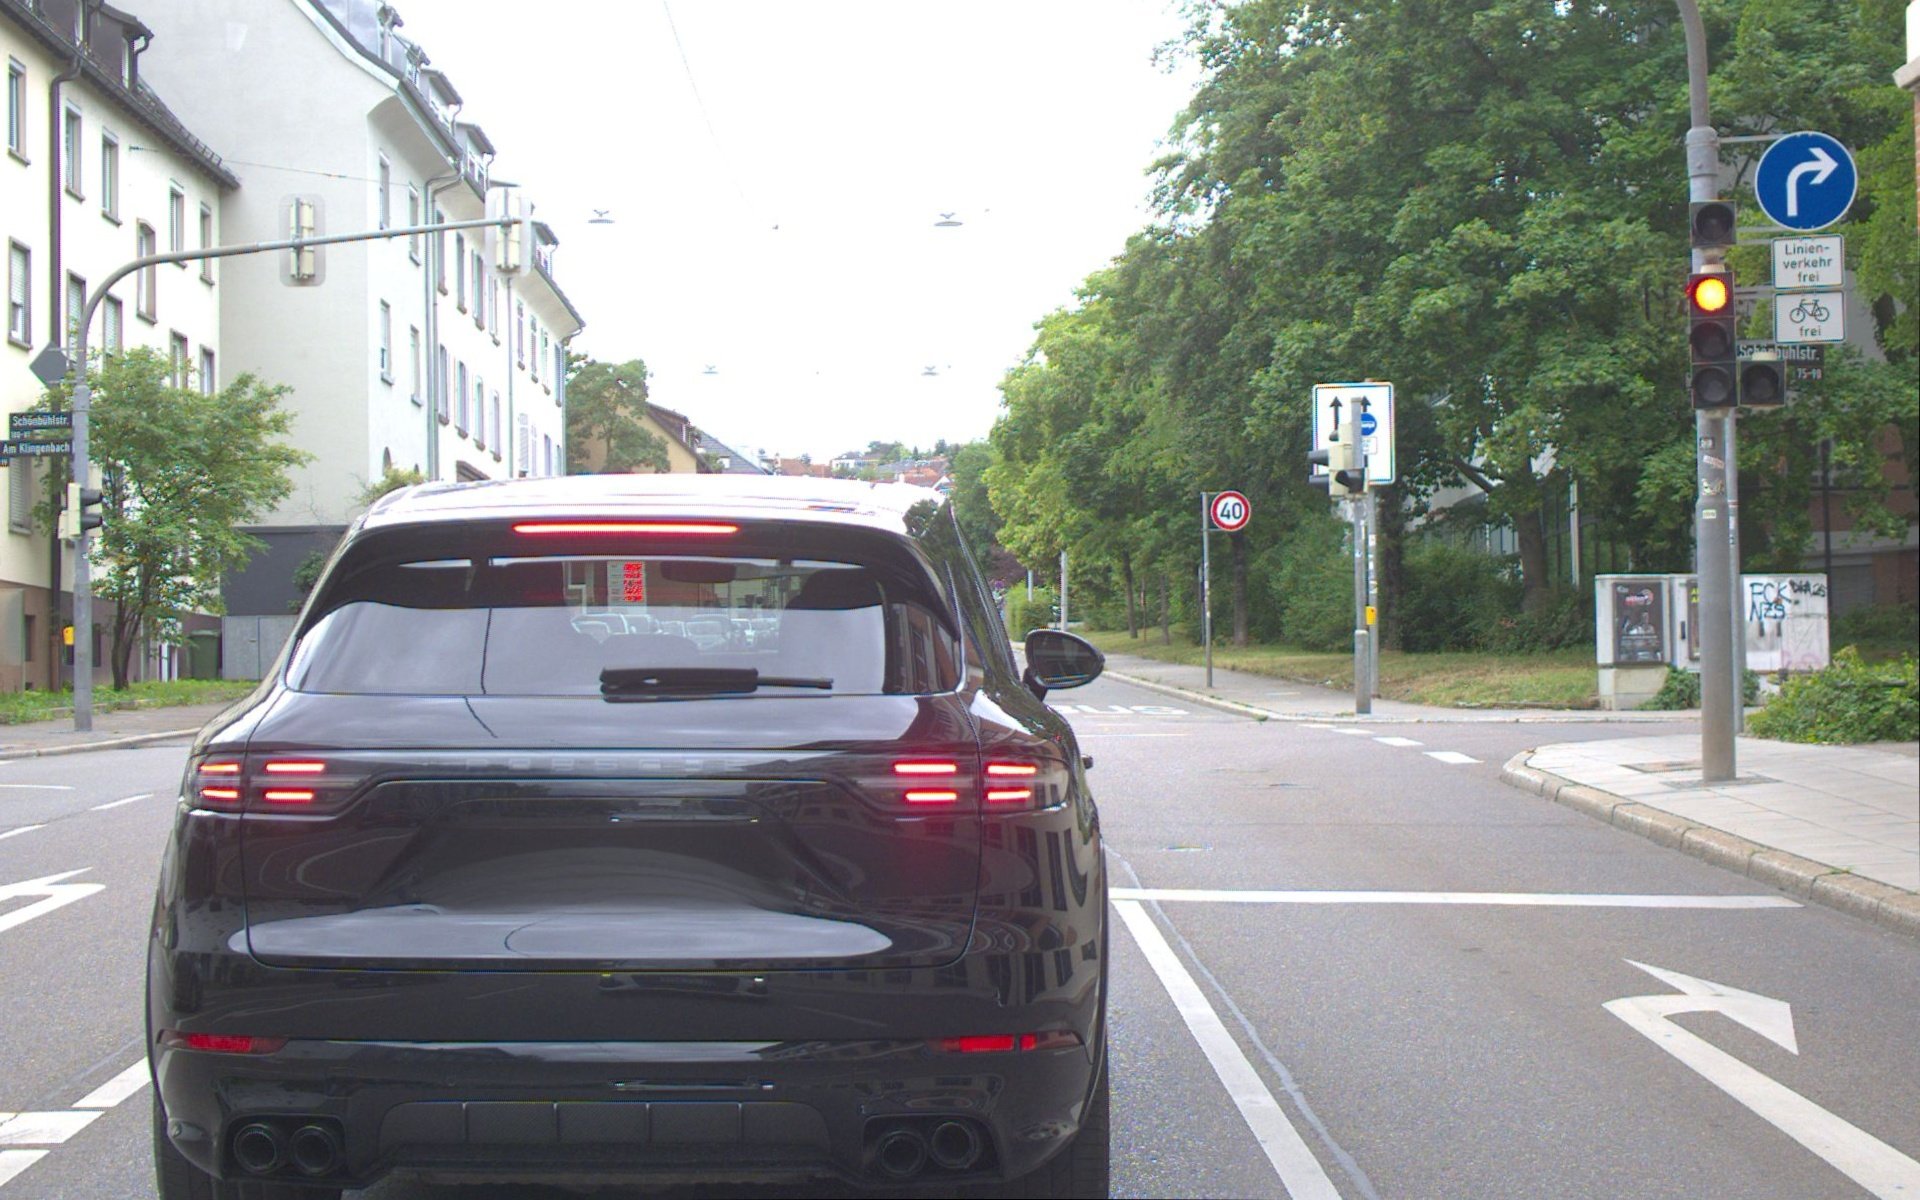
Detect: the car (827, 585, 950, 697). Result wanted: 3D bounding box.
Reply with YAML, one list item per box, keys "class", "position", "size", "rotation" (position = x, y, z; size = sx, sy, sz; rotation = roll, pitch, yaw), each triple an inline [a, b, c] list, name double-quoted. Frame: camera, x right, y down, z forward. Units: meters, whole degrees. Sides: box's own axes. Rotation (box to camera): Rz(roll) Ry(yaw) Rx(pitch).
- class: "car"
  position: [-1.084, 0.606, 53.726]
  size: [1.827, 1.599, 3.859]
  rotation: [1, 1, 0]

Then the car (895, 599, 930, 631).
- class: "car"
  position: [-2.511, 0.797, 183.675]
  size: [1.827, 1.599, 4.135]
  rotation: [1, 1, 0]

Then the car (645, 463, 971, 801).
- class: "car"
  position: [-0.942, 0.156, 23.082]
  size: [1.965, 2.035, 4.135]
  rotation: [1, 1, 0]

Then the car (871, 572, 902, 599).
- class: "car"
  position: [-4.522, -0.909, 211.453]
  size: [1.827, 1.599, 4.135]
  rotation: [1, 1, 0]

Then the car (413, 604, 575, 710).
- class: "car"
  position: [-6.965, 0.816, 51.793]
  size: [1.785, 1.414, 4.670]
  rotation: [-2, 0, 0]

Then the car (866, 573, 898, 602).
- class: "car"
  position: [-4.616, -0.743, 204.128]
  size: [1.827, 1.599, 4.135]
  rotation: [1, 1, 0]

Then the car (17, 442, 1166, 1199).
- class: "car"
  position: [-0.681, 0.521, 8.321]
  size: [2.048, 1.660, 4.267]
  rotation: [1, 1, 0]

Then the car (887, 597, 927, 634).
- class: "car"
  position: [-2.467, 0.727, 161.486]
  size: [1.827, 1.599, 4.135]
  rotation: [1, 1, 0]

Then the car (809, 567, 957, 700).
- class: "car"
  position: [-0.976, 0.399, 45.008]
  size: [1.827, 1.599, 4.135]
  rotation: [1, 1, 0]
